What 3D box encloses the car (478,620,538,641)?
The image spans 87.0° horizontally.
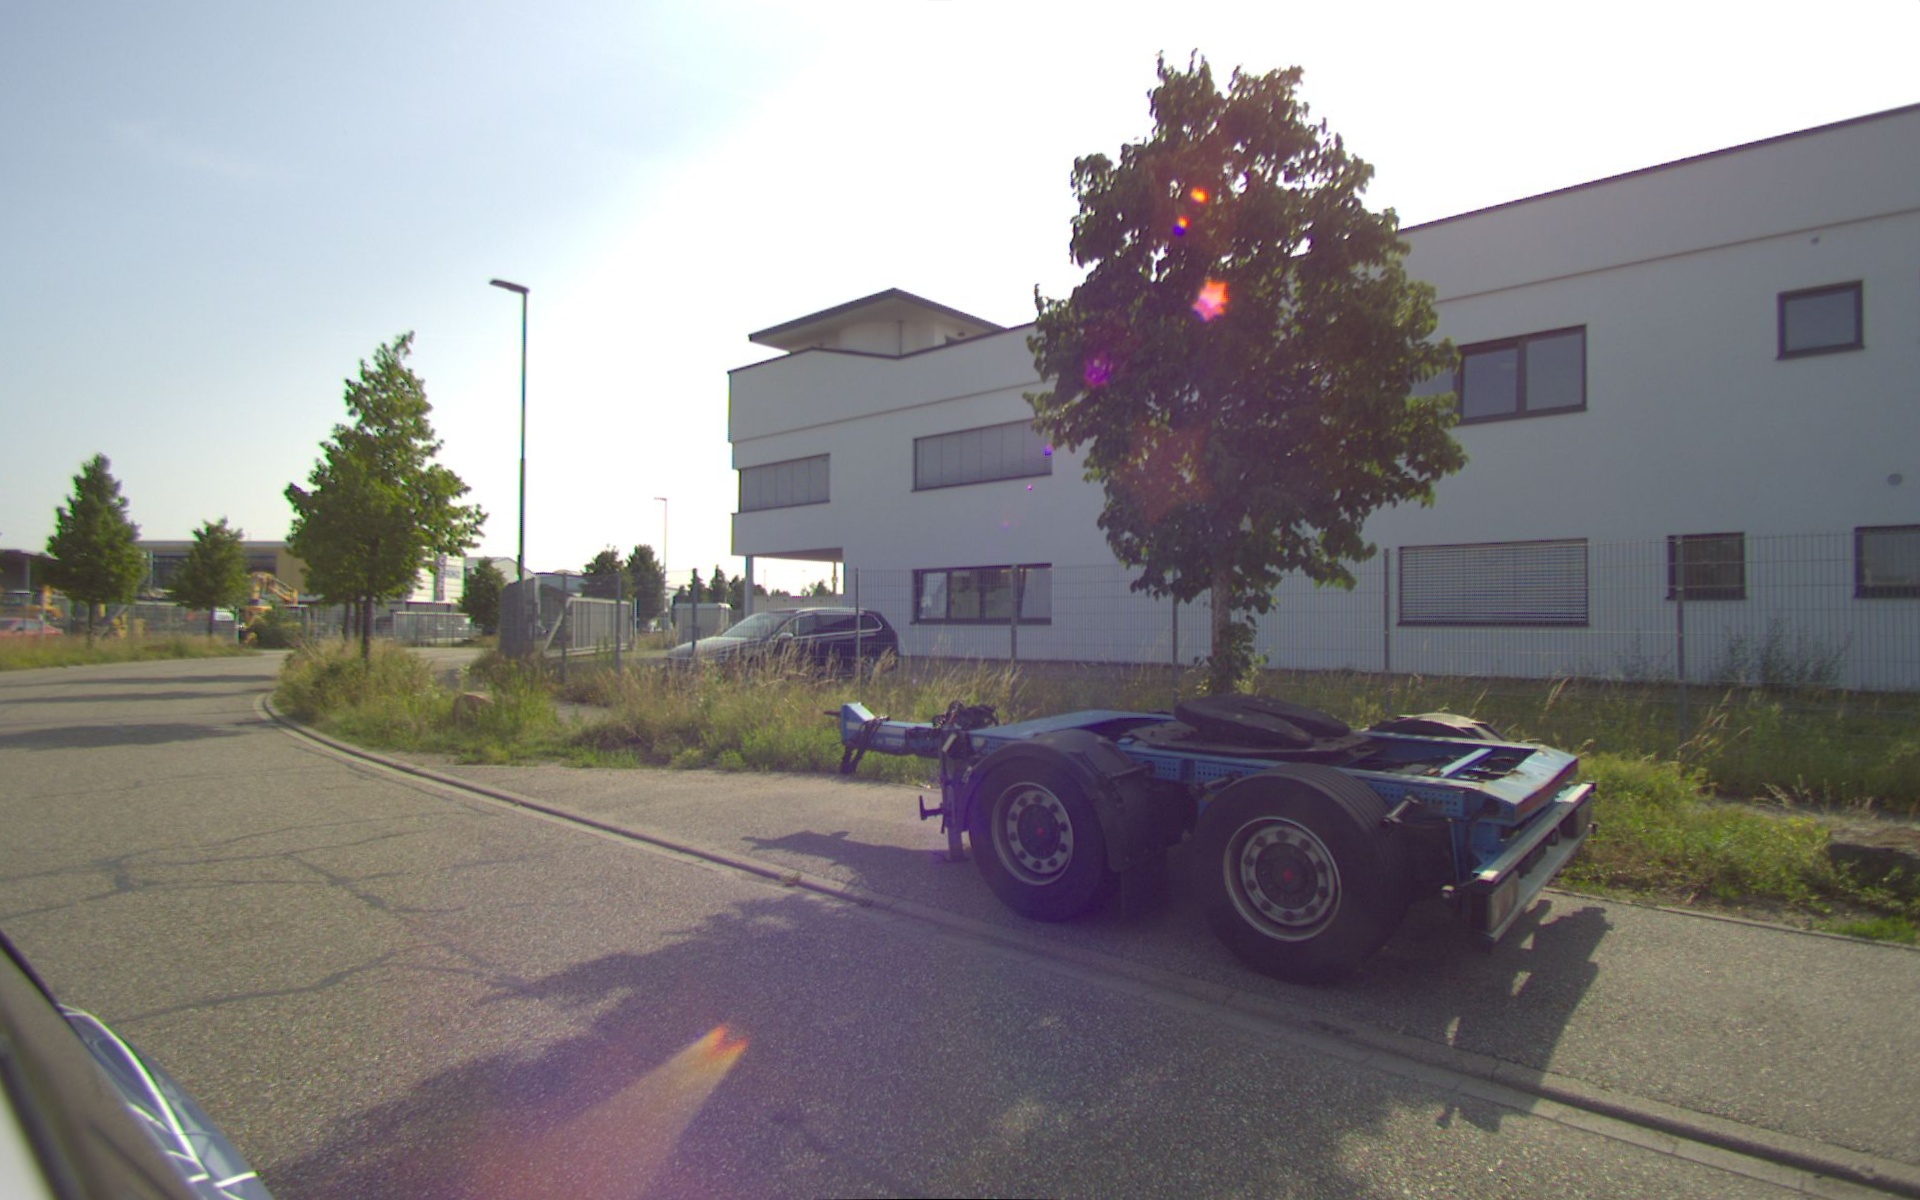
[{"bbox_3d":[-37.050,2.498,83.005,4.170,1.750,1.903,0,-2,-9],"label":"car"}]

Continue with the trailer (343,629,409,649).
[{"bbox_3d":[-37.061,2.450,64.362,1.921,1.253,4.297,0,-2,-4],"label":"trailer"}]

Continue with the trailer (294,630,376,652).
[{"bbox_3d":[-36.519,2.368,59.322,2.101,1.253,4.800,0,-2,-4],"label":"trailer"}]

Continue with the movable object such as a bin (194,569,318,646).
[{"bbox_3d":[-46.649,0.618,67.396,3.277,4.843,7.680,0,-2,-4],"label":"movable object such as a bin"}]

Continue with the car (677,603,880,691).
[{"bbox_3d":[-3.252,0.796,18.581,1.595,1.465,3.457,-2,-1,40],"label":"car"}]

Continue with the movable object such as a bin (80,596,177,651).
[{"bbox_3d":[-47.972,1.356,58.493,1.970,3.055,4.494,0,-2,-2],"label":"movable object such as a bin"}]

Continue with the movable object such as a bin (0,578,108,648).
[{"bbox_3d":[-53.150,0.787,58.752,2.653,3.903,5.720,0,-2,-2],"label":"movable object such as a bin"}]

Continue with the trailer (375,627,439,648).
[{"bbox_3d":[-37.671,2.538,69.067,1.971,1.320,4.565,0,-1,-2],"label":"trailer"}]

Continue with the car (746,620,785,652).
[{"bbox_3d":[-9.944,1.871,51.989,1.748,1.537,4.311,0,-3,-8],"label":"car"}]

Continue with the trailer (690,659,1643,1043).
[{"bbox_3d":[0.897,1.034,6.240,5.200,1.108,2.546,-1,-1,42],"label":"trailer"}]

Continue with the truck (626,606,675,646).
[{"bbox_3d":[-33.173,2.797,108.885,2.714,4.046,9.692,2,-2,-3],"label":"truck"}]

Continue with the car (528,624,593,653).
[{"bbox_3d":[-22.027,2.101,55.955,1.971,1.478,4.434,-2,-1,-2],"label":"car"}]

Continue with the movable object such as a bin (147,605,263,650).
[{"bbox_3d":[-44.112,1.617,59.350,2.889,2.510,5.341,0,-2,-2],"label":"movable object such as a bin"}]

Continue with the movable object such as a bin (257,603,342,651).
[{"bbox_3d":[-39.399,1.625,60.515,1.865,2.773,5.162,0,-2,-2],"label":"movable object such as a bin"}]

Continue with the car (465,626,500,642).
[{"bbox_3d":[-46.902,3.321,99.480,1.865,1.568,4.378,0,-2,-8],"label":"car"}]

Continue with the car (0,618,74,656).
[{"bbox_3d":[-35.035,1.344,36.771,1.857,1.368,4.780,0,-2,-6],"label":"car"}]

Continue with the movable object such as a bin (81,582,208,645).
[{"bbox_3d":[-53.937,0.960,67.207,2.883,3.959,7.214,1,-2,-4],"label":"movable object such as a bin"}]

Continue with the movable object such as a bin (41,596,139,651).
[{"bbox_3d":[-50.282,1.383,58.626,1.970,3.055,4.375,0,-2,-2],"label":"movable object such as a bin"}]
